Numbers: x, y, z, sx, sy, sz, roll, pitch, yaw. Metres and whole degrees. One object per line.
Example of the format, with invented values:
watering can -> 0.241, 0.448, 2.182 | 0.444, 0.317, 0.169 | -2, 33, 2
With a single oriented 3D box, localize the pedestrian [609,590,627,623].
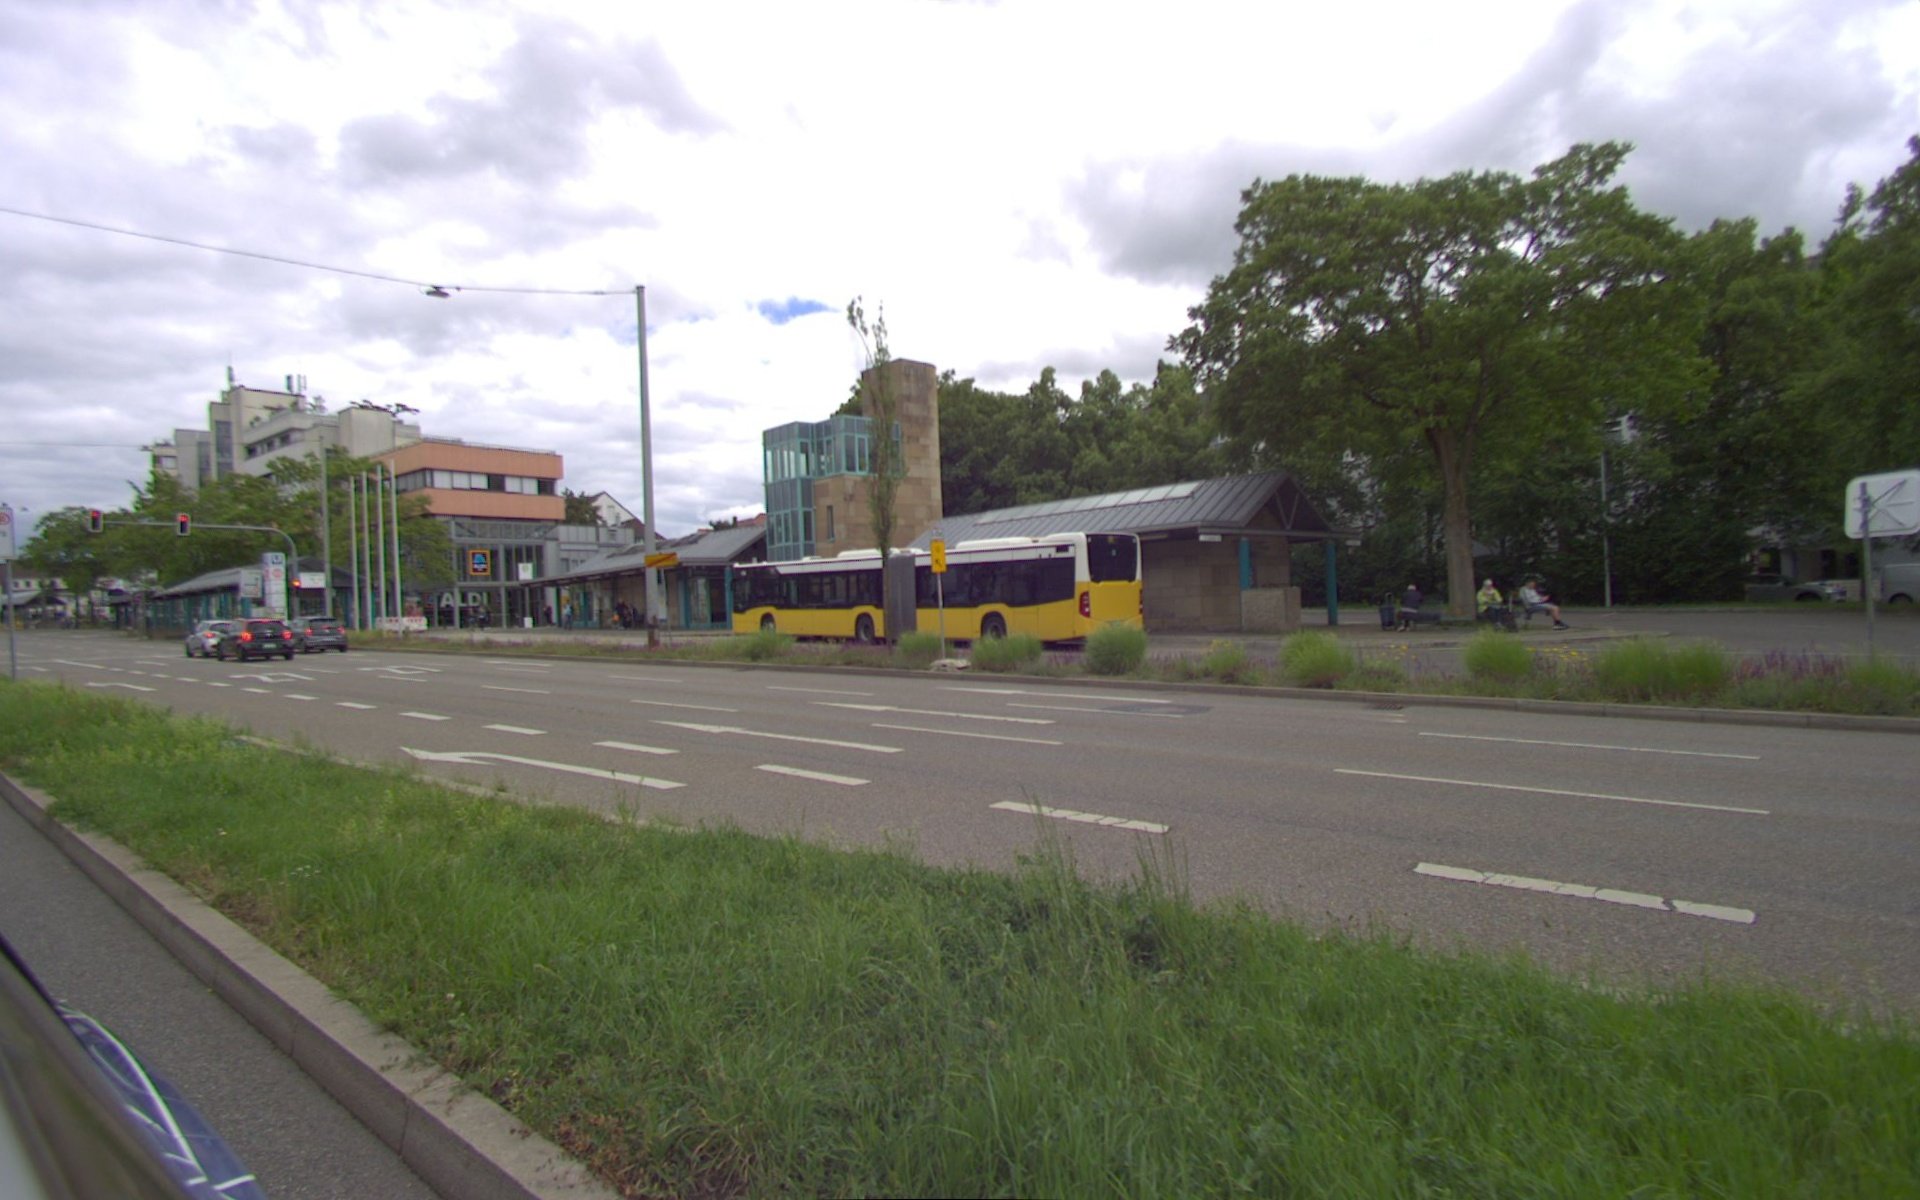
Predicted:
pedestrian -> -17.710, 0.346, 52.378 | 0.658, 1.662, 0.612 | -1, 0, 44

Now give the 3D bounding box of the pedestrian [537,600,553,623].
pedestrian -> -27.013, 0.759, 65.839 | 0.992, 1.472, 0.583 | -2, 0, 43

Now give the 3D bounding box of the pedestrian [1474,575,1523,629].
pedestrian -> 13.428, 0.044, 25.270 | 0.887, 1.300, 0.853 | -2, 0, 16

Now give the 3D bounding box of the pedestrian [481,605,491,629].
pedestrian -> -31.960, 1.136, 68.266 | 0.378, 1.559, 0.485 | -2, 0, 3

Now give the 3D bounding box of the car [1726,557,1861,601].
car -> 34.993, -0.867, 42.583 | 1.967, 1.696, 4.009 | -1, 0, -37

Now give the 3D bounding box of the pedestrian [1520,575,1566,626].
pedestrian -> 14.892, 0.002, 25.859 | 0.857, 1.264, 0.883 | -2, 0, 40

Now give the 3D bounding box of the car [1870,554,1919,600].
car -> 37.944, -0.924, 38.275 | 1.967, 1.736, 4.926 | -1, 0, -37

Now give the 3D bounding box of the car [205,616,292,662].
car -> -25.536, 1.362, 36.274 | 3.766, 1.519, 1.642 | -1, 0, 40

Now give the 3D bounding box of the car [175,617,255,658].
car -> -29.789, 1.513, 40.435 | 3.787, 1.476, 1.727 | -3, 0, 41

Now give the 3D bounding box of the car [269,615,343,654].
car -> -27.631, 1.418, 42.721 | 4.001, 1.519, 1.795 | -1, 0, 44

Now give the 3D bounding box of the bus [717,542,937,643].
bus -> -5.055, -0.197, 36.435 | 2.743, 3.155, 9.447 | -4, 1, -43

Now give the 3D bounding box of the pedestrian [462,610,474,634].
pedestrian -> -32.592, 1.451, 67.024 | 0.522, 1.559, 0.755 | -2, 0, -35

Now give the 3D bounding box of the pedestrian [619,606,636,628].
pedestrian -> -16.985, 0.867, 51.705 | 0.658, 1.129, 0.612 | -1, 0, 44

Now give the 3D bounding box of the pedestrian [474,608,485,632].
pedestrian -> -32.034, 1.318, 67.495 | 0.382, 1.559, 0.480 | -2, 0, 31

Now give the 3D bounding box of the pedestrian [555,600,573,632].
pedestrian -> -20.494, 0.824, 52.333 | 0.658, 1.662, 0.612 | -1, 0, 44

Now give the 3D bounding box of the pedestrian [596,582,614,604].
pedestrian -> -18.742, -0.362, 53.444 | 0.658, 1.129, 0.612 | -1, 0, 44

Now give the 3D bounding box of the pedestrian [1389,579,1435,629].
pedestrian -> 11.873, 0.097, 26.604 | 0.886, 1.264, 0.855 | -2, 0, 11

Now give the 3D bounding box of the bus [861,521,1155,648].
bus -> 1.049, -0.365, 29.754 | 2.776, 3.155, 9.311 | -4, 2, -42
